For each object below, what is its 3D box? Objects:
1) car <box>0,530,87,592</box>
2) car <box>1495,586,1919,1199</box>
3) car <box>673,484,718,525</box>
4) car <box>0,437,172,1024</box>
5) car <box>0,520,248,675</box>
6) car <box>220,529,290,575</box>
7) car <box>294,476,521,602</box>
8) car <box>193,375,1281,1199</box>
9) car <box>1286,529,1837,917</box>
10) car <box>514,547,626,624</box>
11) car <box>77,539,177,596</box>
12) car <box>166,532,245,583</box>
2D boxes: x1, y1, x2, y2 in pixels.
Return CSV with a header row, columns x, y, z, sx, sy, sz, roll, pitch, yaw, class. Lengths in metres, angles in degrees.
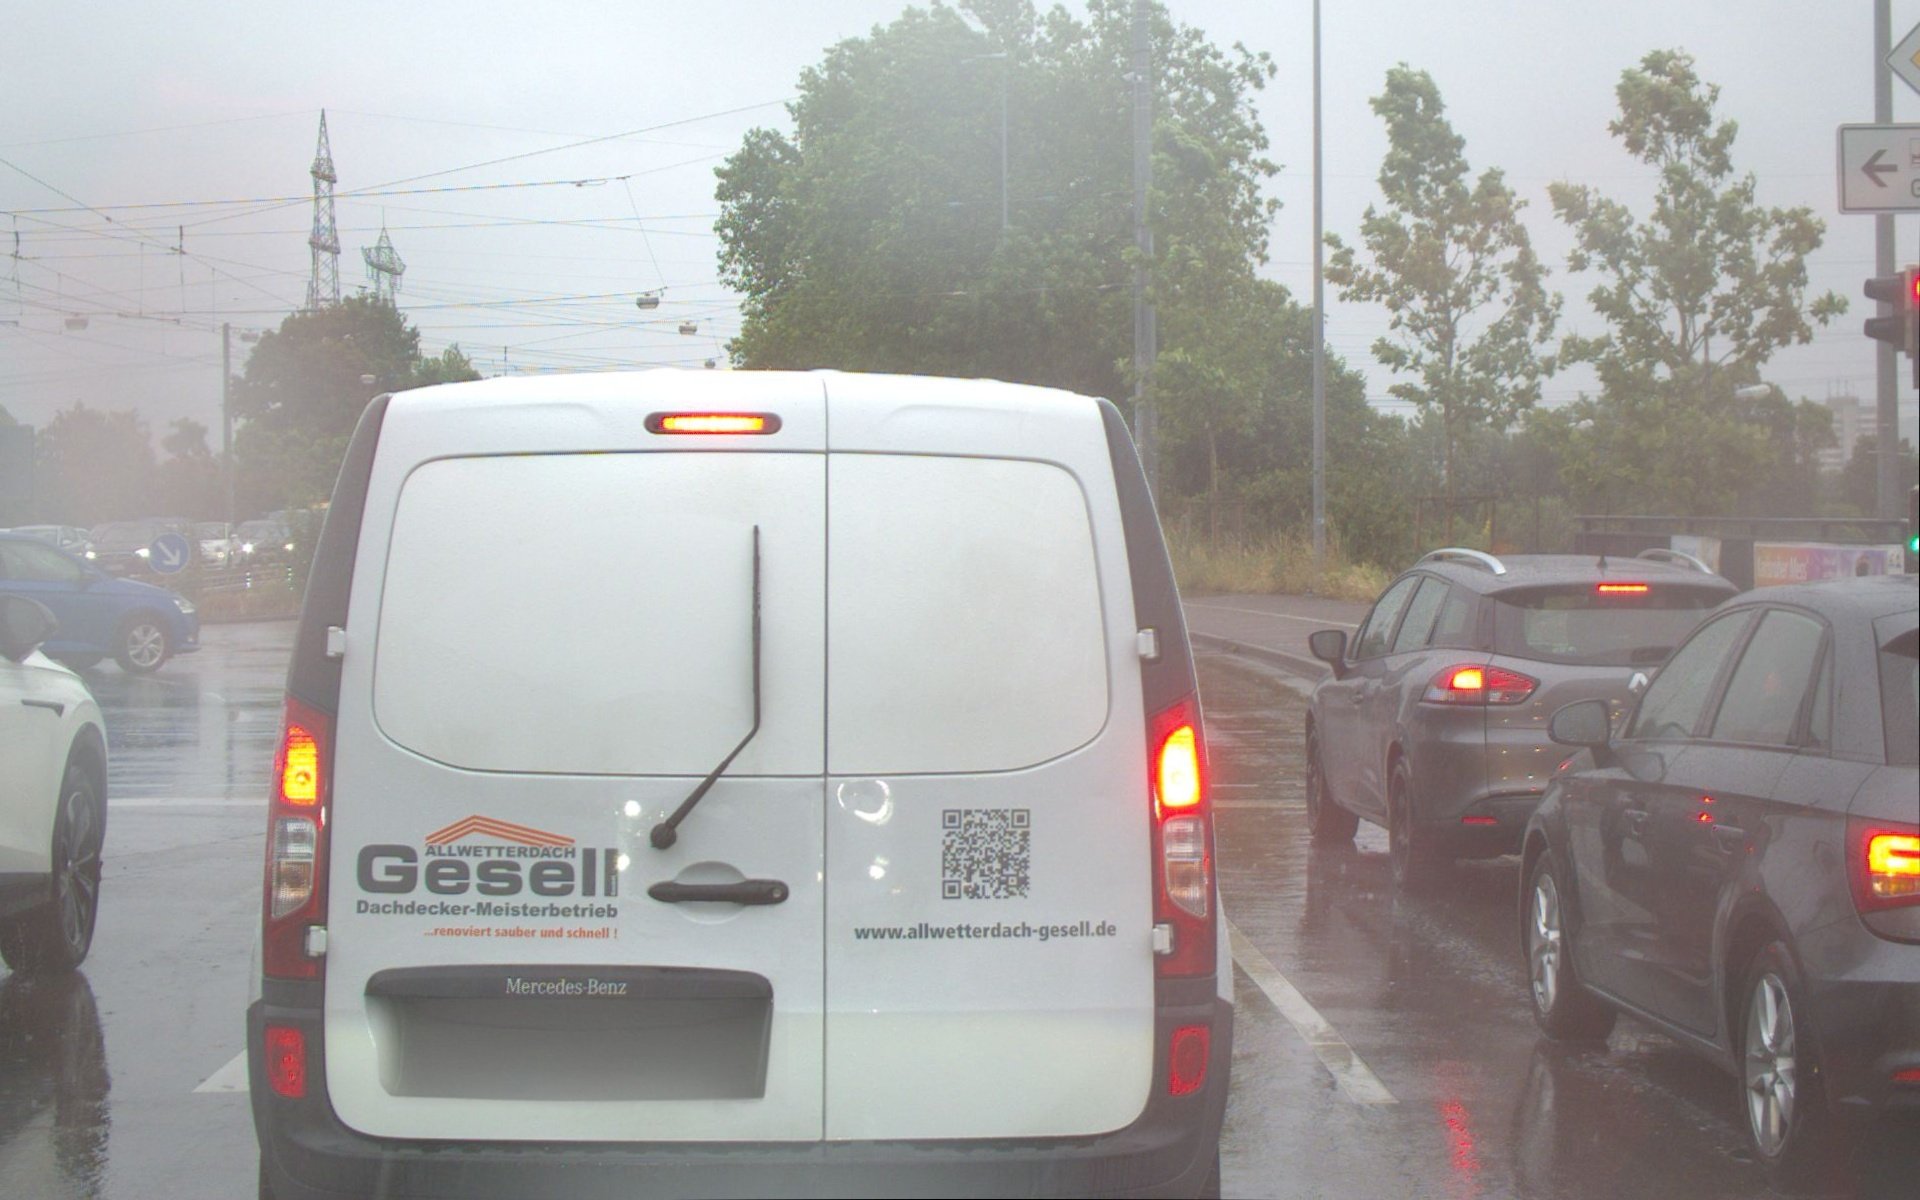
x,y,z,sx,sy,sz,roll,pitch,yaw,class
-22.549,-0.938,83.897,1.559,1.421,3.569,2,0,-1,car
2.540,0.649,8.939,1.597,1.362,3.631,-1,0,-2,car
-12.076,-4.351,157.145,1.947,1.656,4.465,2,0,-4,car
-3.848,0.379,10.295,1.930,1.769,4.664,1,1,-1,car
-9.329,-0.046,34.882,3.731,1.502,1.650,2,1,-37,car
-23.109,-1.572,112.780,1.559,1.421,3.569,2,0,-1,car
-7.981,-0.853,50.005,1.703,1.668,3.794,4,1,16,car
-0.506,0.453,7.679,1.754,1.744,4.170,1,2,-4,car
2.567,0.458,15.554,1.684,1.503,3.921,1,1,-1,car
-7.696,-0.313,68.096,1.645,1.393,3.454,3,1,2,car
-22.000,-0.844,90.927,1.710,1.421,3.809,2,0,-1,car
-22.551,-1.254,102.802,1.559,1.421,3.569,2,0,-1,car
